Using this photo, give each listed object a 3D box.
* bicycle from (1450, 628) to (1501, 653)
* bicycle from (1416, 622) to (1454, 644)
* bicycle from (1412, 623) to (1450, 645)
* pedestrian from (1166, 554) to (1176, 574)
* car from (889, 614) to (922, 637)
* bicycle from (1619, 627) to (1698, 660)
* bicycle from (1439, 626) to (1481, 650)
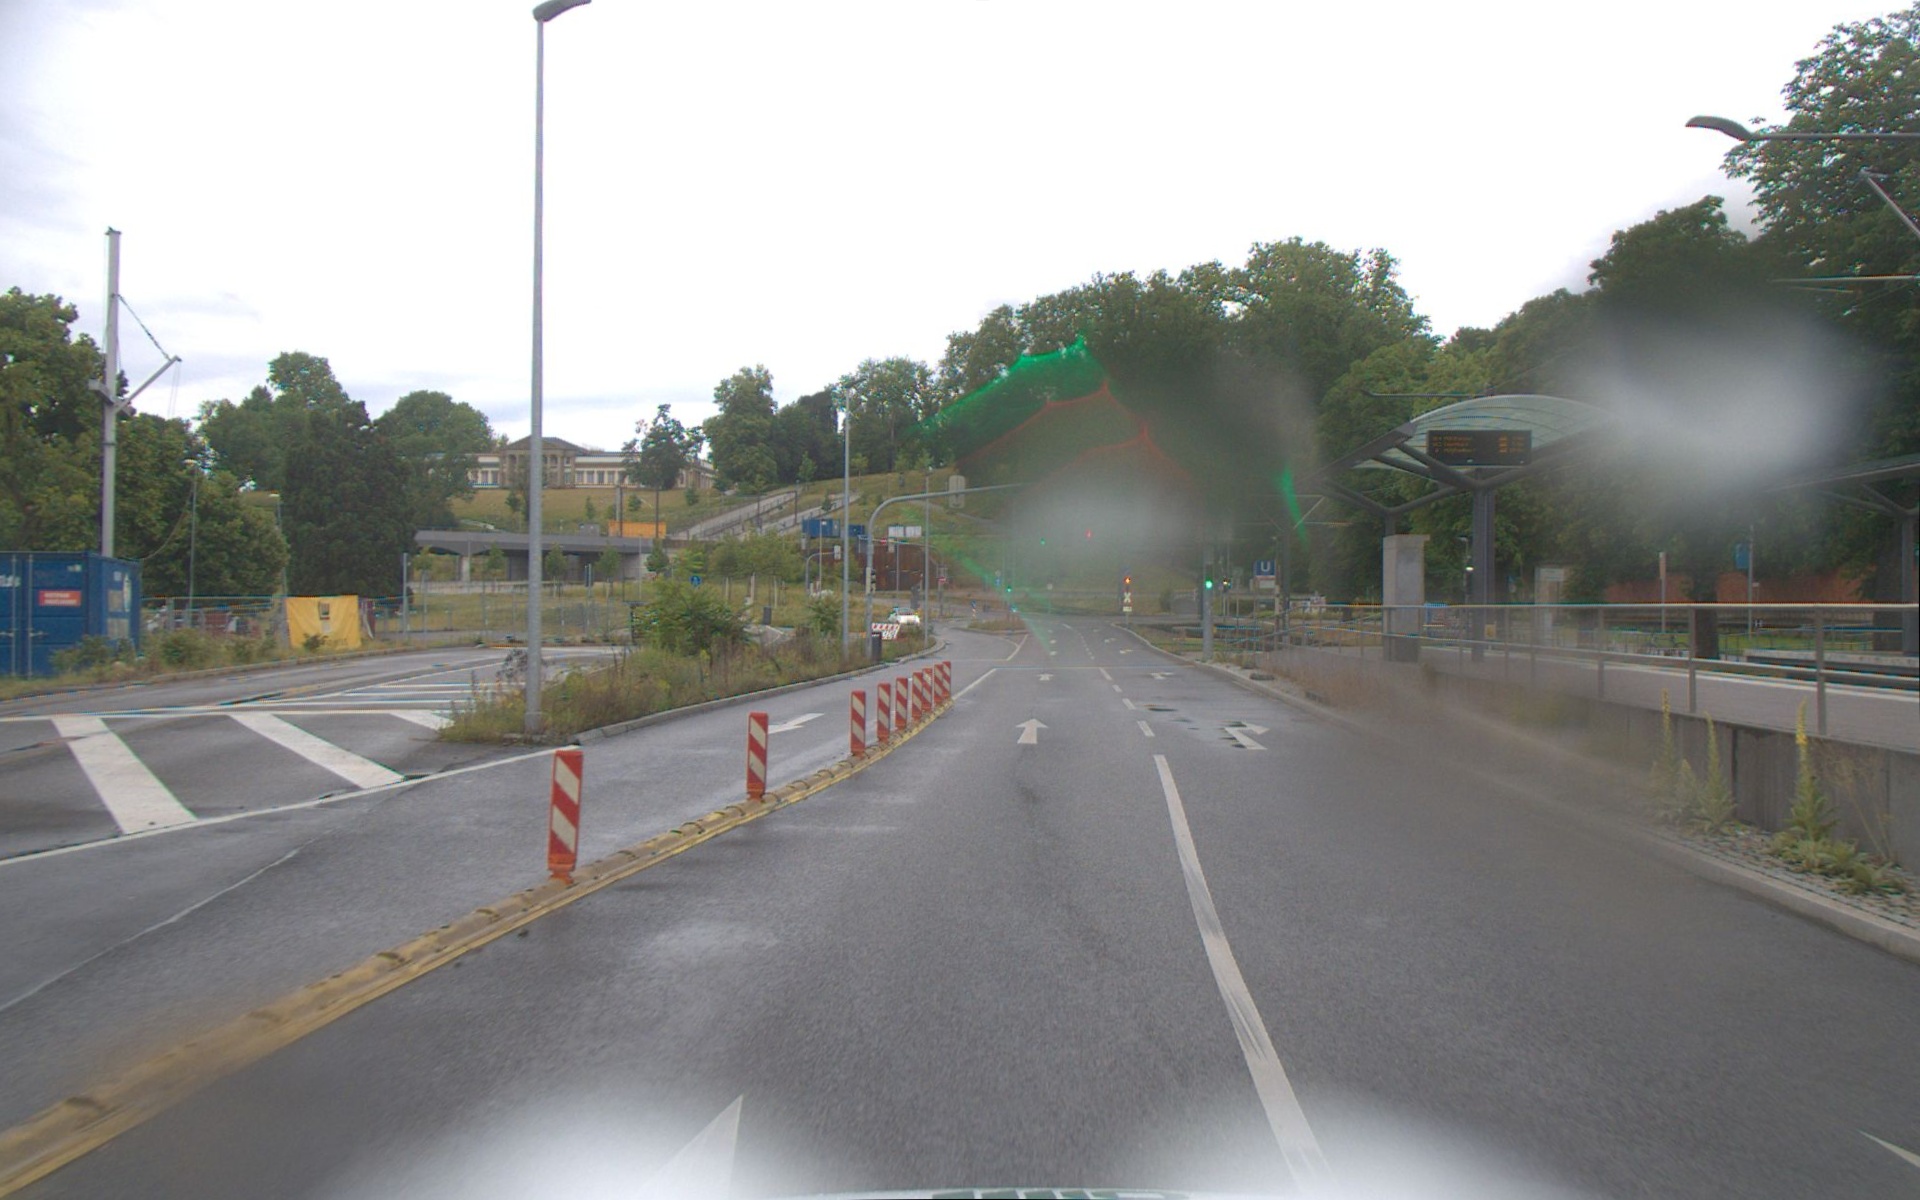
[{"bbox_3d":[24.348,1.914,78.160,2.177,1.050,0.689,-2,1,1],"label":"bicycle"},{"bbox_3d":[24.747,1.701,86.148,1.773,1.050,0.653,-2,1,1],"label":"bicycle"},{"bbox_3d":[24.253,1.759,85.139,1.773,1.050,0.653,-2,1,1],"label":"bicycle"},{"bbox_3d":[23.827,-4.062,186.802,0.775,2.046,0.655,-5,7,-12],"label":"pedestrian"},{"bbox_3d":[-3.915,1.783,118.285,1.561,1.517,3.699,-3,0,-15],"label":"car"},{"bbox_3d":[22.542,1.396,53.370,2.273,0.973,0.570,-2,1,2],"label":"bicycle"},{"bbox_3d":[24.408,1.849,80.780,1.808,1.050,0.653,-2,1,1],"label":"bicycle"}]
